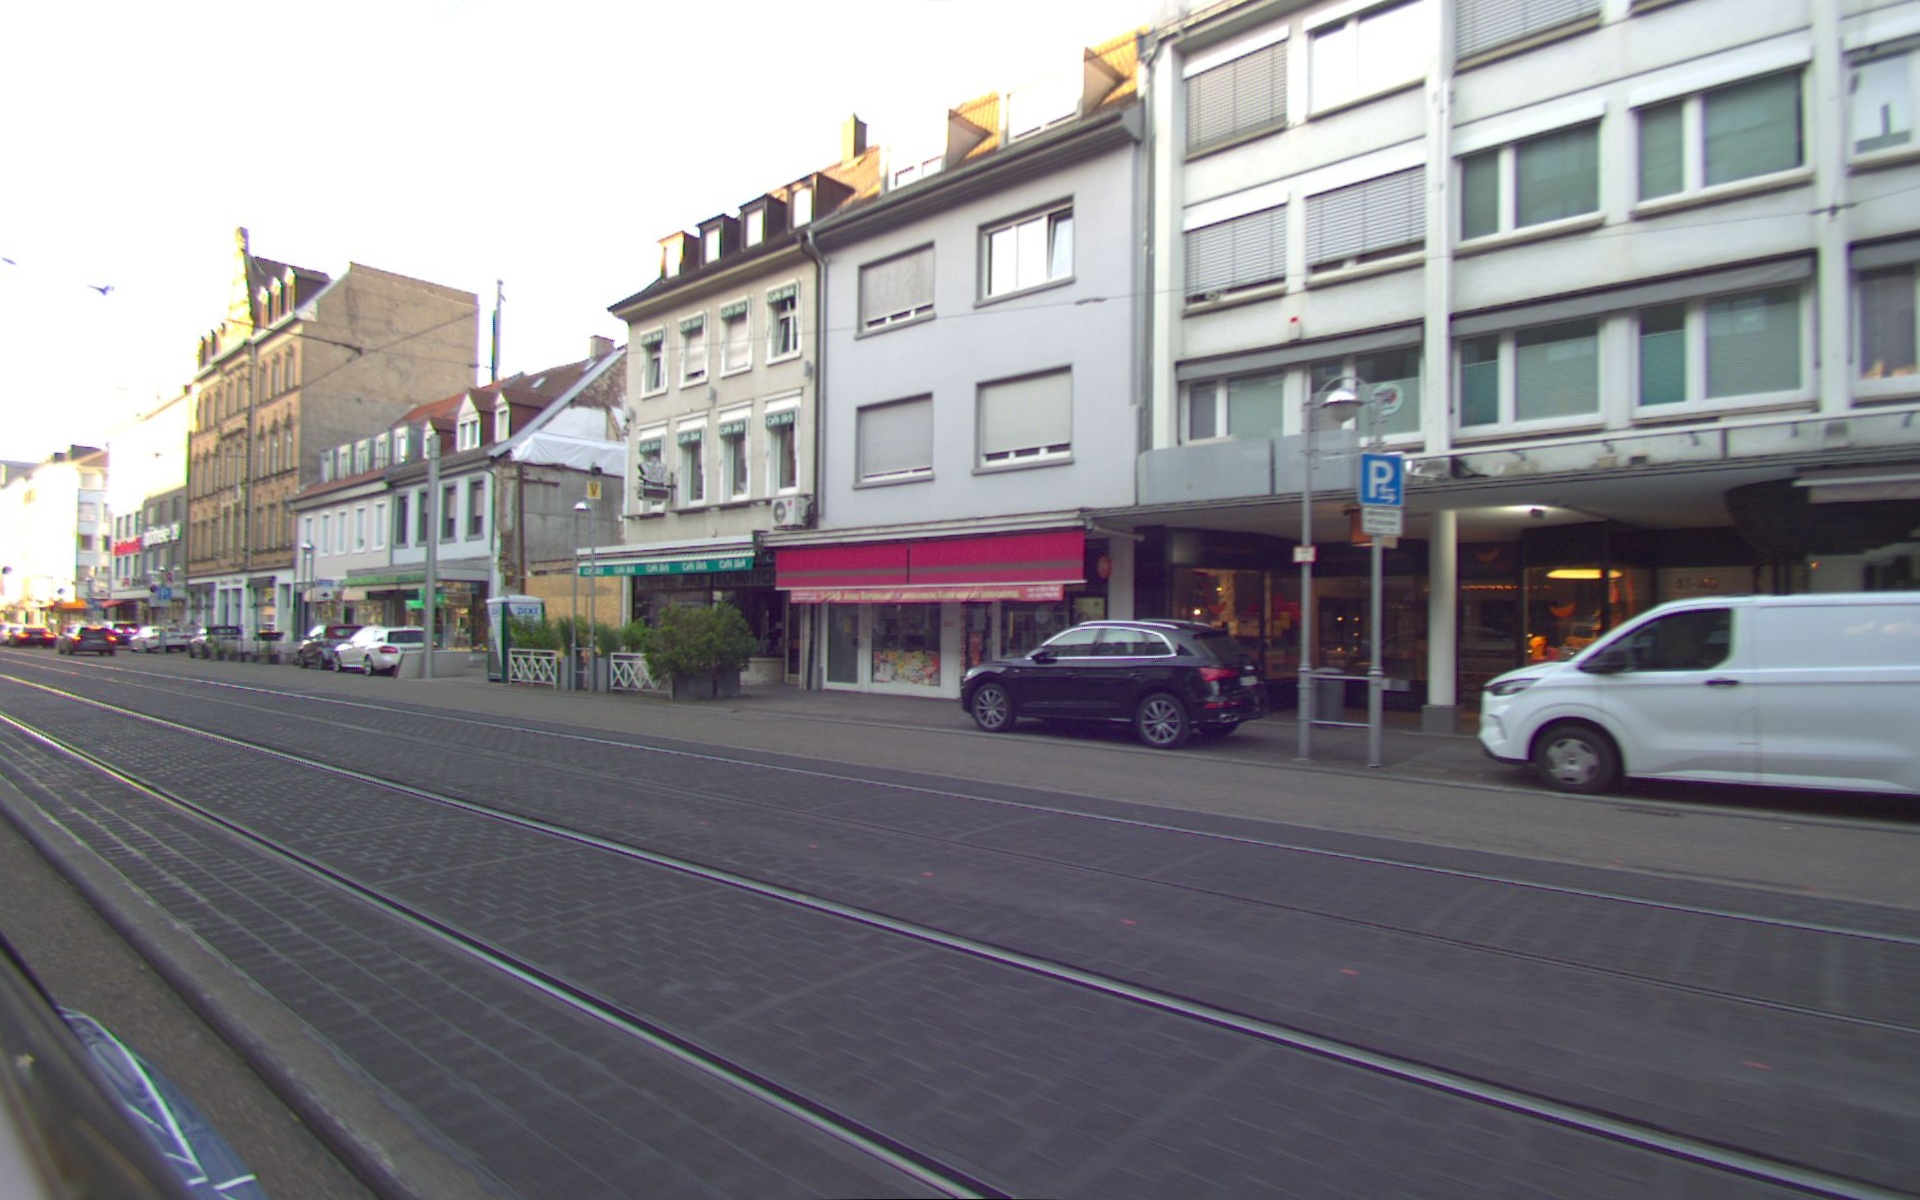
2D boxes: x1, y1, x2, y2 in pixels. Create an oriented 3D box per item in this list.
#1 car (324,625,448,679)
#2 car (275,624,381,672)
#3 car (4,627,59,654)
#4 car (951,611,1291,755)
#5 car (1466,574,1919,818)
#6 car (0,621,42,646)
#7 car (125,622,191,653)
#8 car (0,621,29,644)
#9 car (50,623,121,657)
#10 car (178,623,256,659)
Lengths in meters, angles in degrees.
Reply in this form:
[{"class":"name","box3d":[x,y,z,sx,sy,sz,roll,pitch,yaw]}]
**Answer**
[{"class":"car","box3d":[-18.279,1.598,32.126,4.876,1.556,1.972,-1,-1,42]},{"class":"car","box3d":[-22.288,1.643,35.632,4.550,1.556,1.889,-1,-2,41]},{"class":"car","box3d":[-55.783,2.422,60.768,3.998,1.564,1.973,-1,-2,41]},{"class":"car","box3d":[2.190,1.050,14.531,4.524,1.734,1.839,-1,-1,40]},{"class":"car","box3d":[7.809,0.822,9.524,5.159,1.992,1.935,-1,-3,40]},{"class":"car","box3d":[-61.257,2.182,65.674,3.998,1.564,1.973,-1,-2,41]},{"class":"car","box3d":[-42.656,1.978,53.781,4.204,1.564,1.973,-1,-2,41]},{"class":"car","box3d":[-66.546,2.256,70.562,3.998,1.564,1.973,-1,-2,41]},{"class":"car","box3d":[-41.561,1.882,48.096,3.998,1.564,1.973,-1,-2,41]},{"class":"car","box3d":[-33.631,1.821,45.793,3.998,1.564,1.973,-1,-2,41]}]
